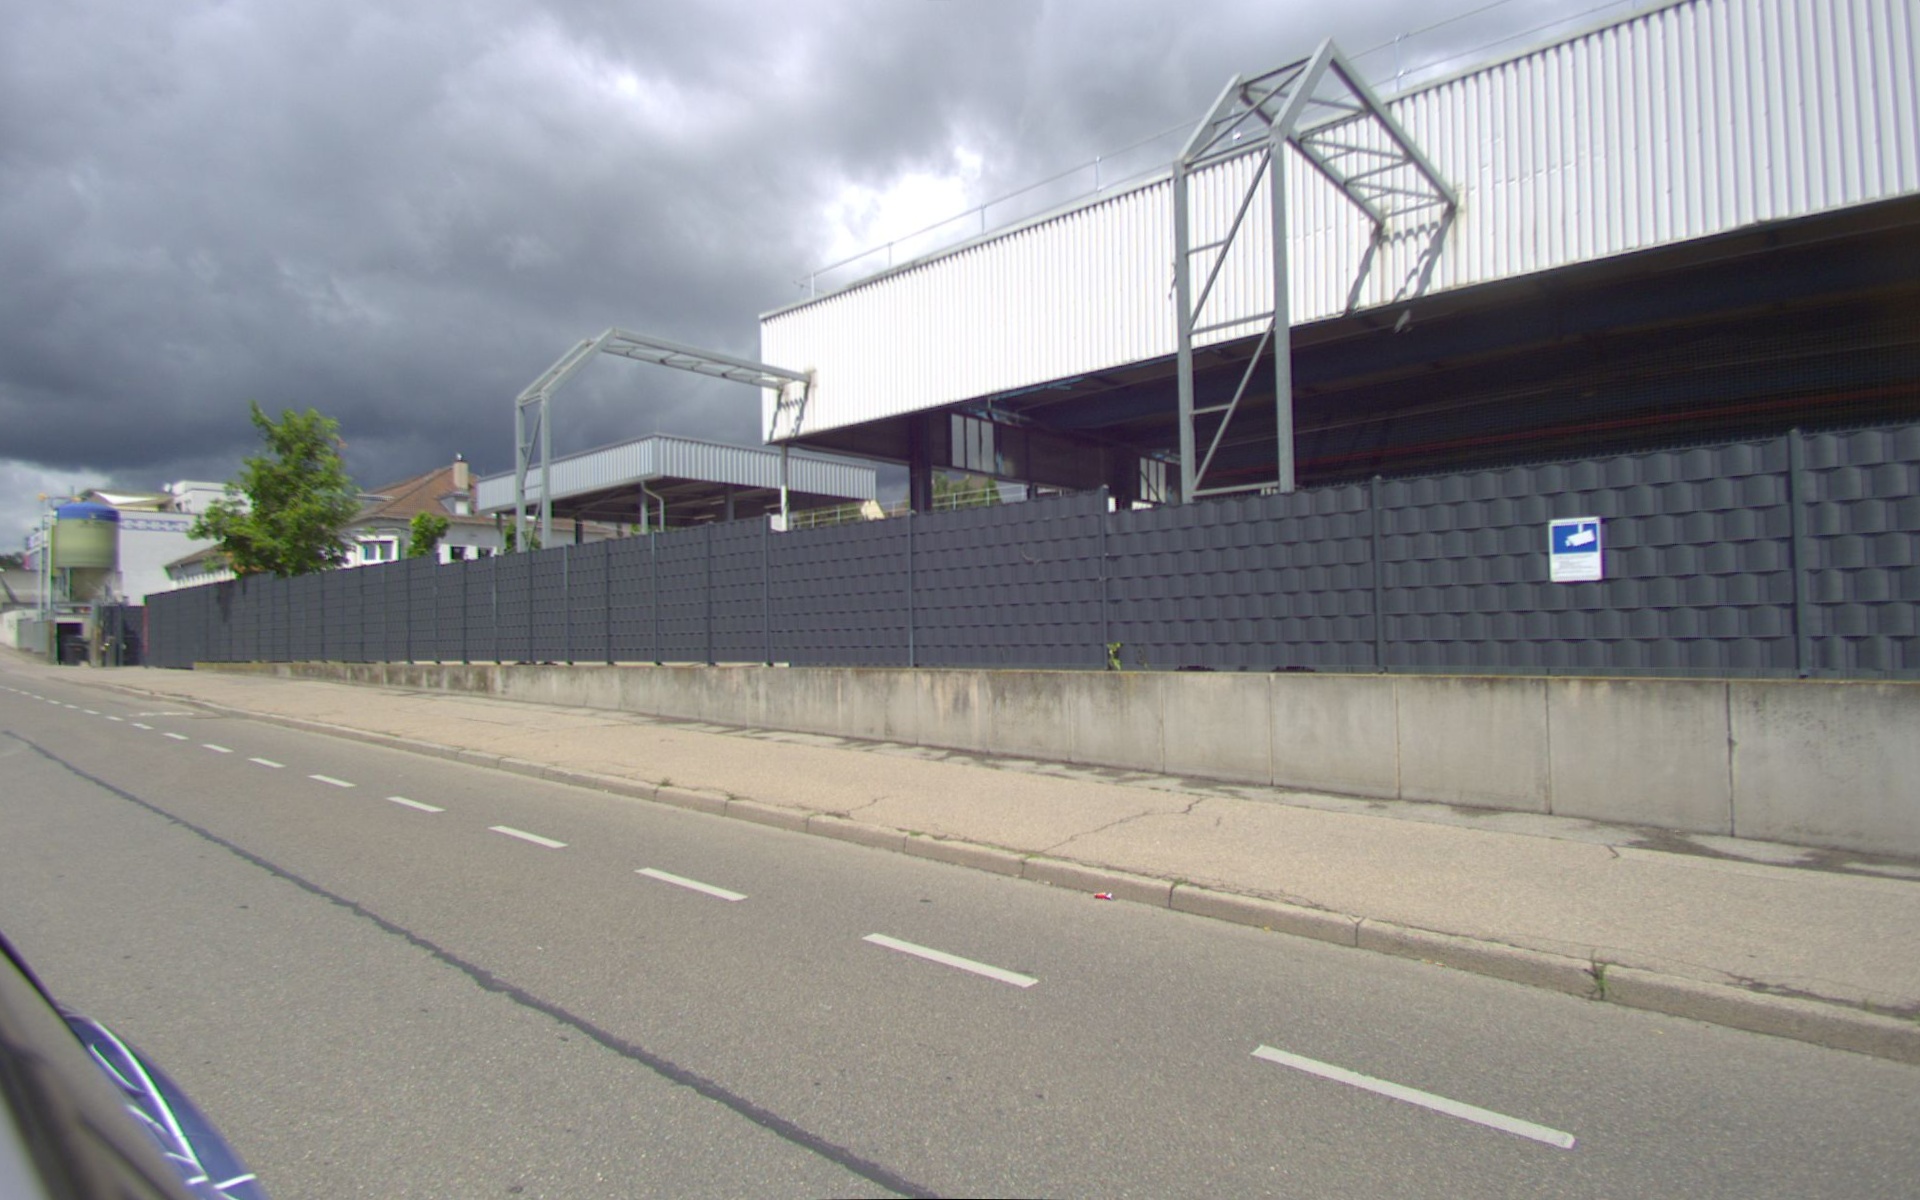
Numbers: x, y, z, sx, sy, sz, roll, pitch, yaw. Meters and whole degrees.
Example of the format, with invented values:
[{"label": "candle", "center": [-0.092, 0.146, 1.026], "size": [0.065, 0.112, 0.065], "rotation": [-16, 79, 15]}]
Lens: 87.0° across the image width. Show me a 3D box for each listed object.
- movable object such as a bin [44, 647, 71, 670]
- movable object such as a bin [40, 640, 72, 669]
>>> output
[{"label": "movable object such as a bin", "center": [-42.805, 2.779, 48.020], "size": [0.741, 1.058, 0.862], "rotation": [-3, -5, 44]}, {"label": "movable object such as a bin", "center": [-43.504, 2.632, 48.709], "size": [1.215, 1.404, 0.980], "rotation": [-3, -5, 42]}]
